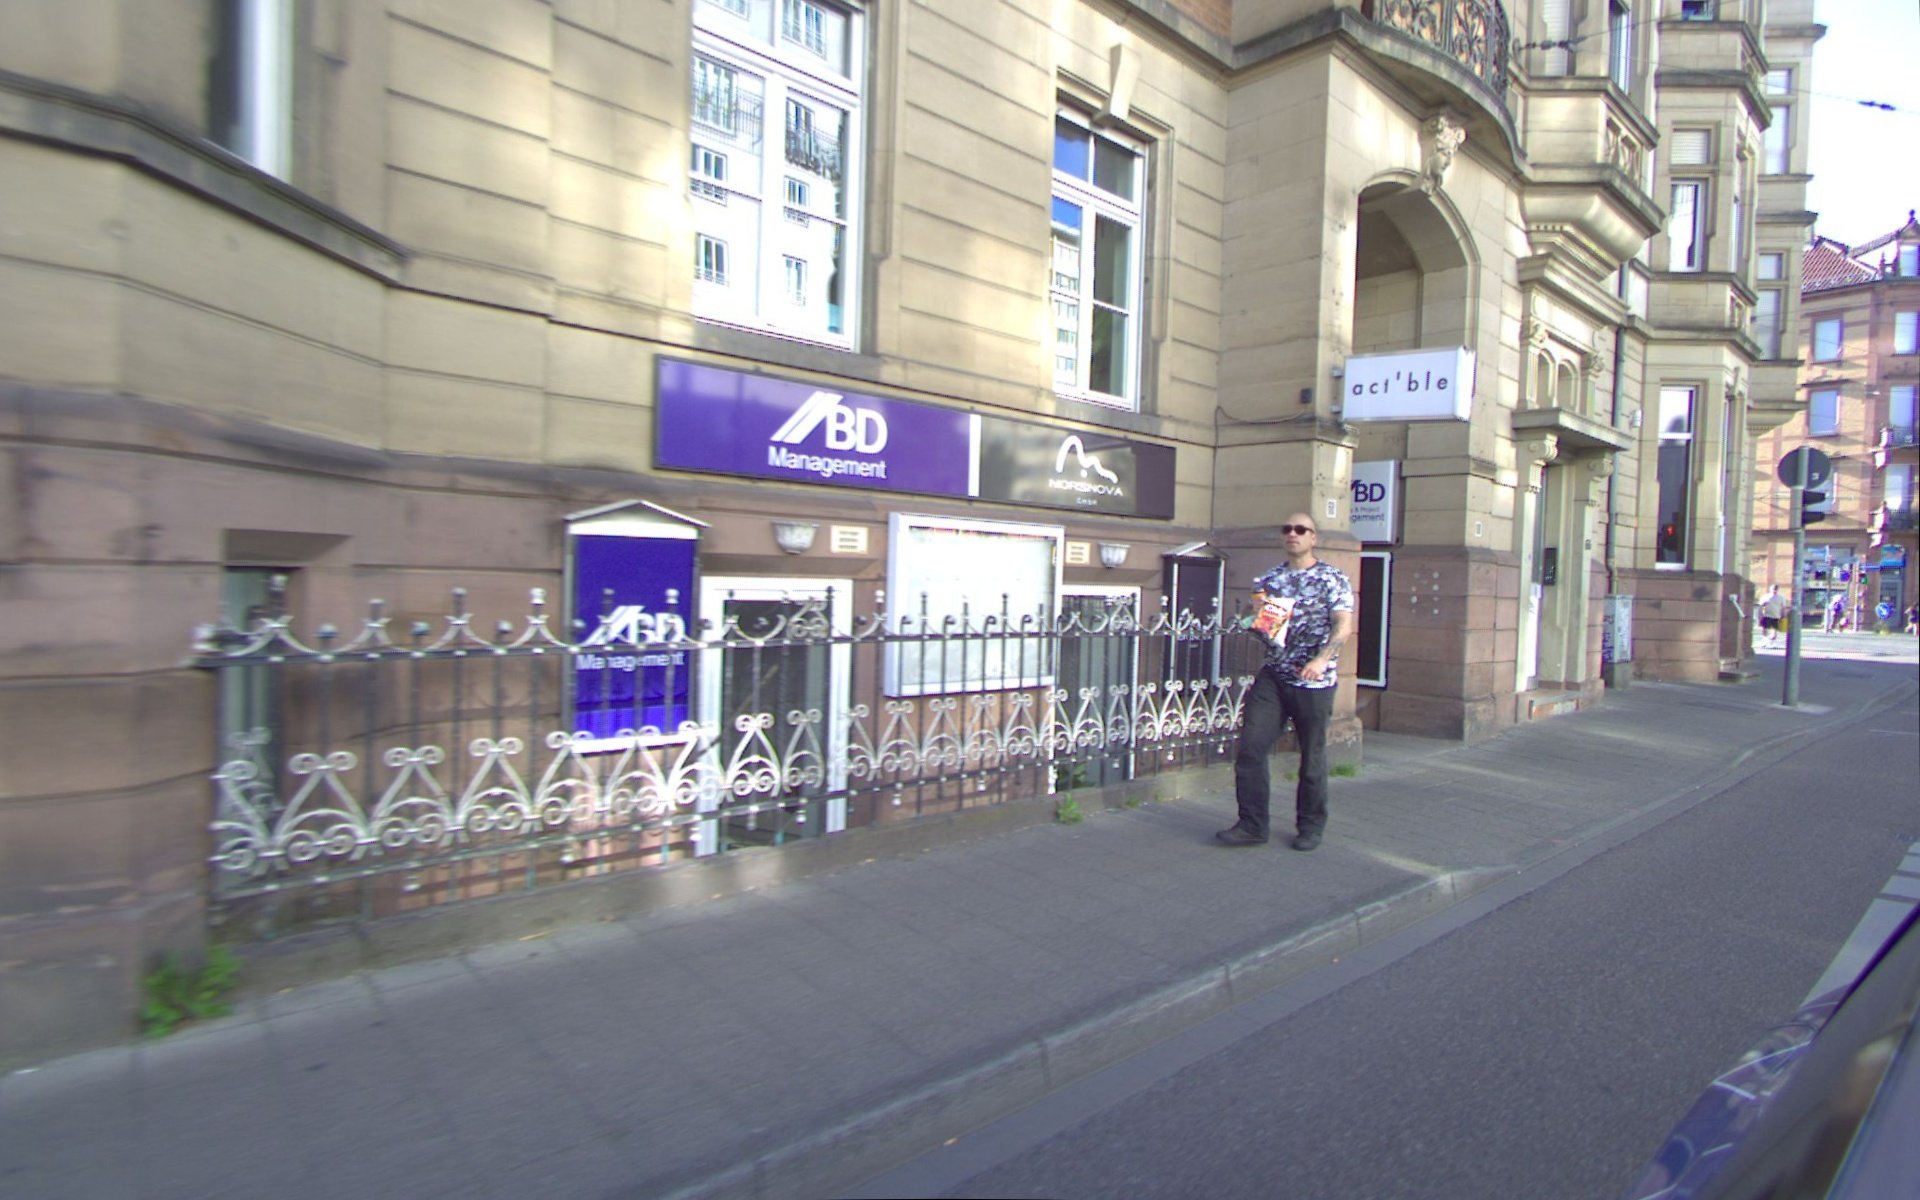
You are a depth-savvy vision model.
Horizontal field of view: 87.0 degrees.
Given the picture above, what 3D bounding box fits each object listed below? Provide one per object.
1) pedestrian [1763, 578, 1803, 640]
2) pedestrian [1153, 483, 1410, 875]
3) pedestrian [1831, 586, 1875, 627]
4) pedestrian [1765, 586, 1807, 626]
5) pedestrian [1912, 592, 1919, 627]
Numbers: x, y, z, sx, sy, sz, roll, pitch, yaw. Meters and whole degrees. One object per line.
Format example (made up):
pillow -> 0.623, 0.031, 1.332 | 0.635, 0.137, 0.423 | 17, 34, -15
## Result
pedestrian -> 22.872, 0.237, 28.122 | 0.620, 1.675, 0.702 | -1, 3, -39
pedestrian -> 1.671, 0.357, 5.223 | 1.075, 1.772, 0.781 | 3, 0, -44
pedestrian -> 37.437, 0.257, 42.444 | 0.906, 1.652, 0.944 | 1, 2, -8
pedestrian -> 35.710, 0.259, 43.769 | 0.908, 1.652, 1.009 | 1, 2, 2
pedestrian -> 43.594, 0.461, 45.514 | 0.922, 1.556, 0.636 | 1, 2, -9
